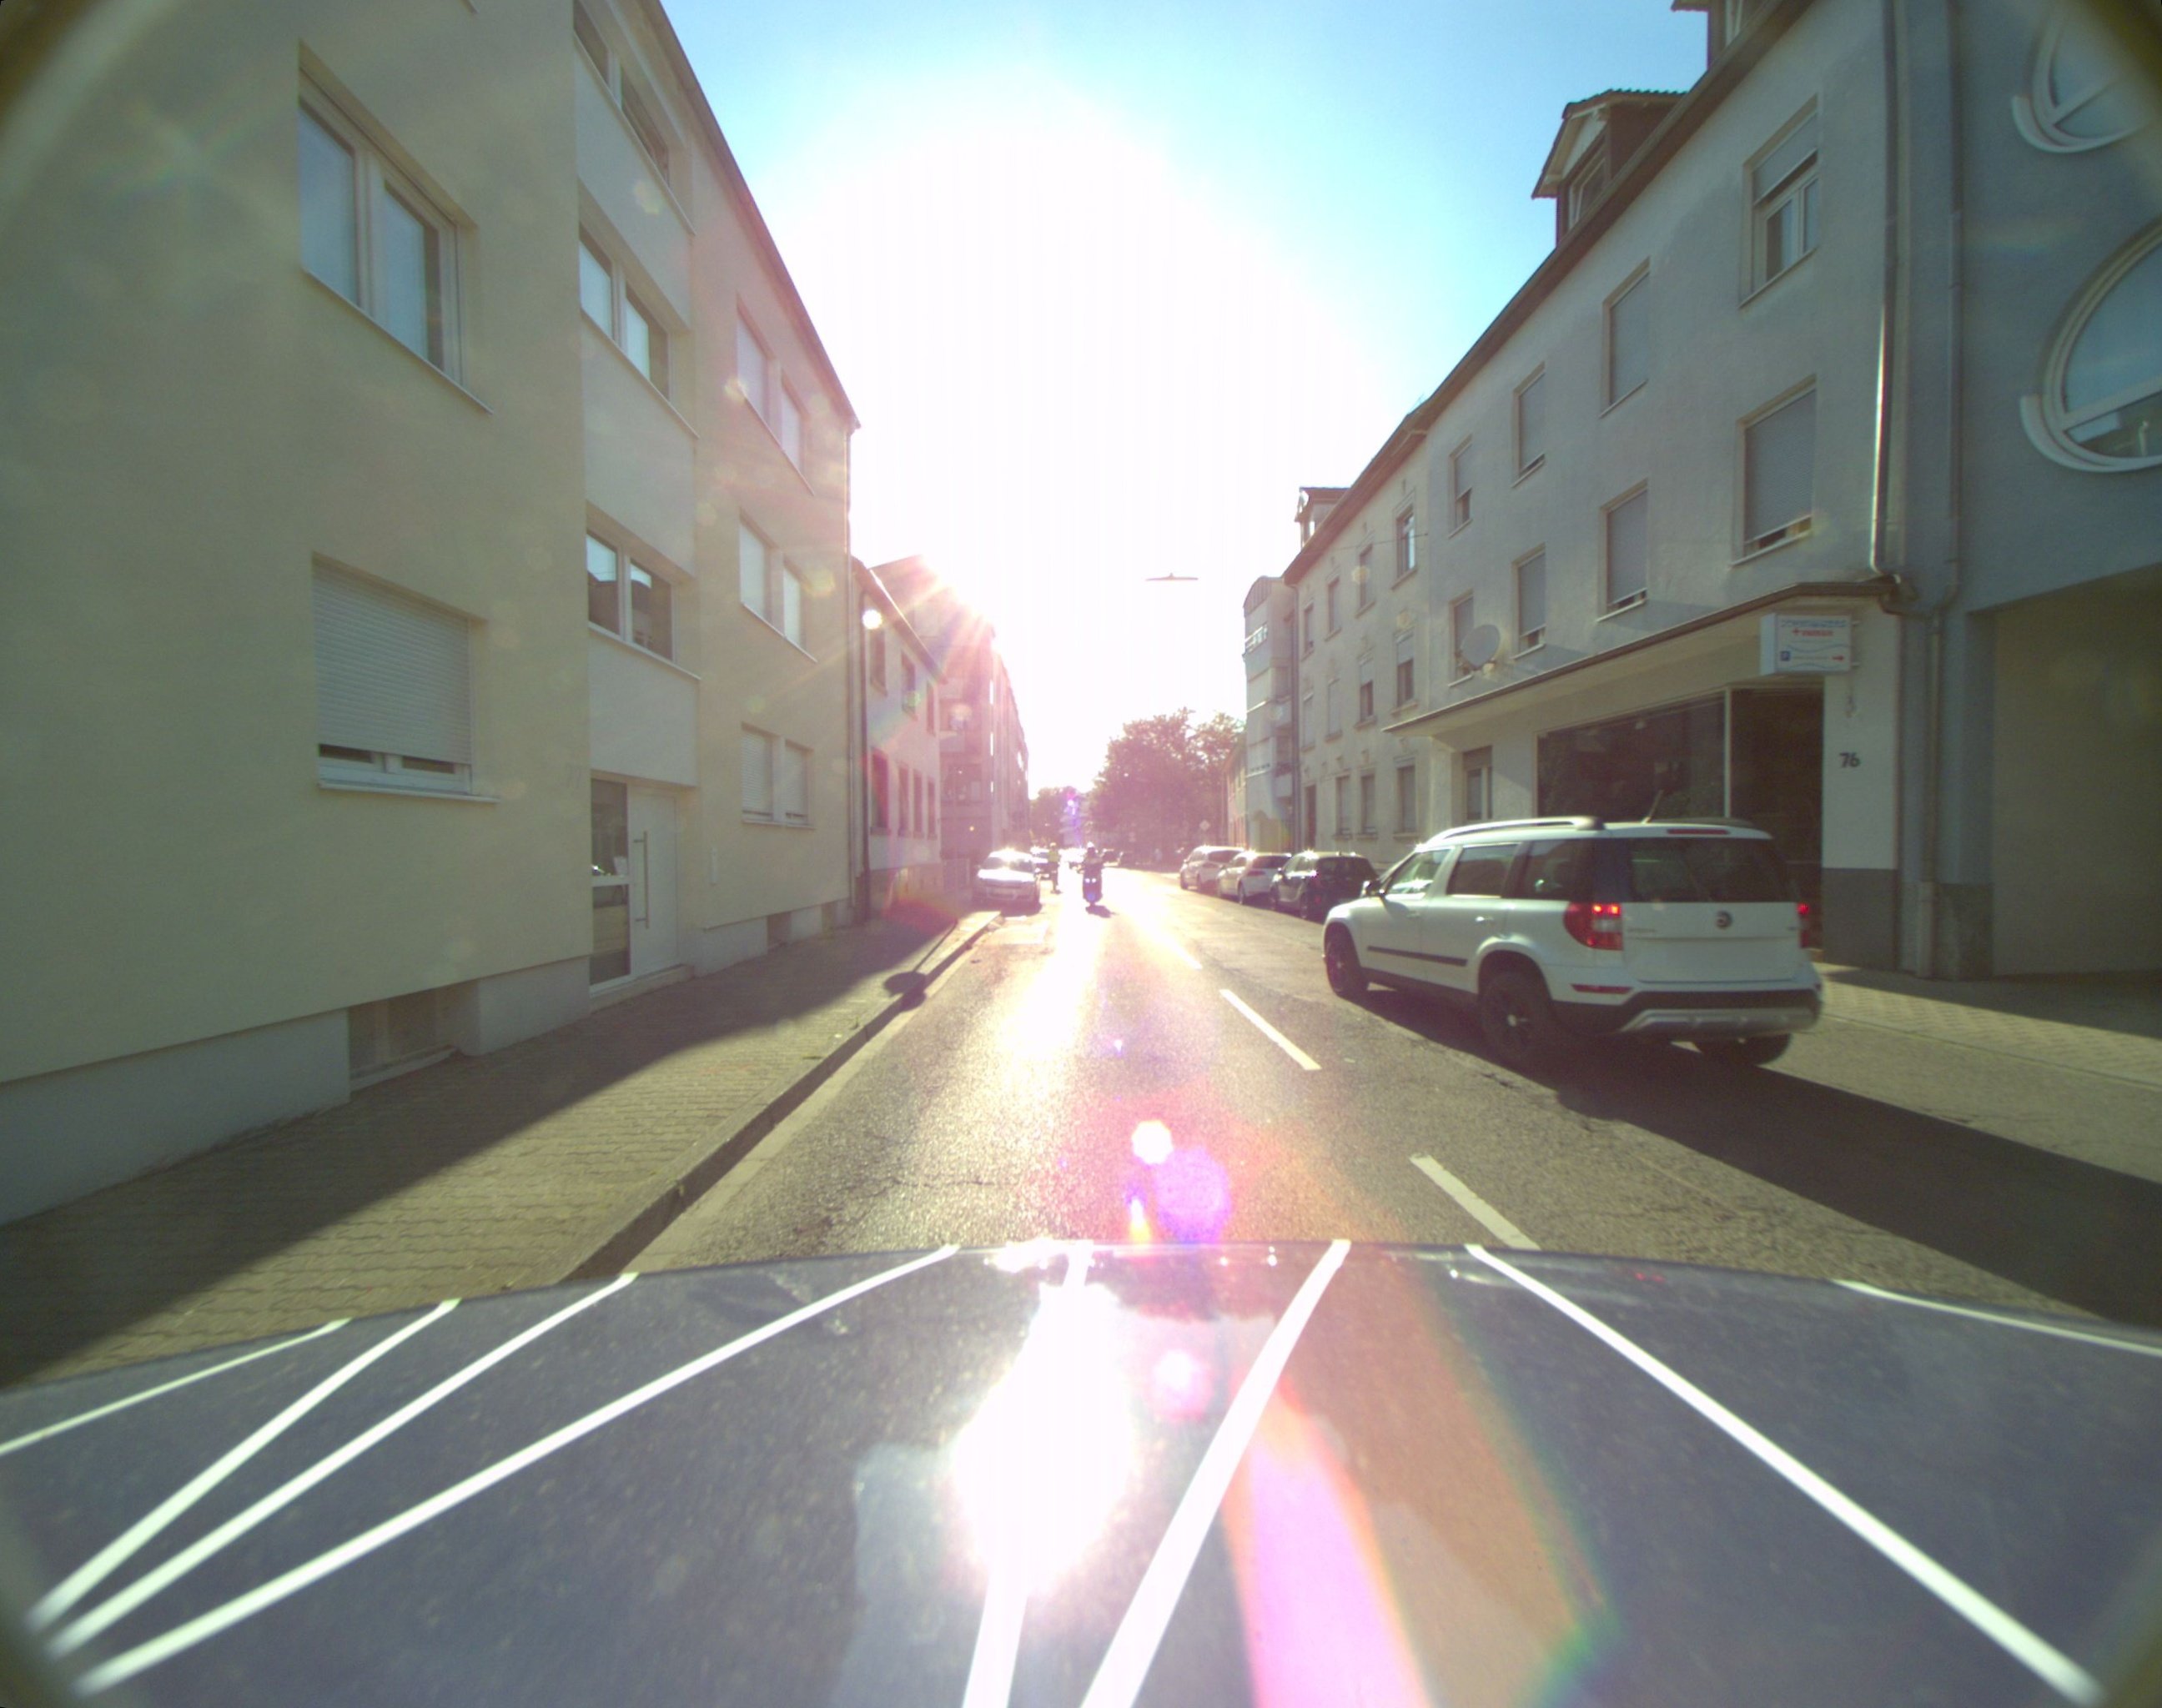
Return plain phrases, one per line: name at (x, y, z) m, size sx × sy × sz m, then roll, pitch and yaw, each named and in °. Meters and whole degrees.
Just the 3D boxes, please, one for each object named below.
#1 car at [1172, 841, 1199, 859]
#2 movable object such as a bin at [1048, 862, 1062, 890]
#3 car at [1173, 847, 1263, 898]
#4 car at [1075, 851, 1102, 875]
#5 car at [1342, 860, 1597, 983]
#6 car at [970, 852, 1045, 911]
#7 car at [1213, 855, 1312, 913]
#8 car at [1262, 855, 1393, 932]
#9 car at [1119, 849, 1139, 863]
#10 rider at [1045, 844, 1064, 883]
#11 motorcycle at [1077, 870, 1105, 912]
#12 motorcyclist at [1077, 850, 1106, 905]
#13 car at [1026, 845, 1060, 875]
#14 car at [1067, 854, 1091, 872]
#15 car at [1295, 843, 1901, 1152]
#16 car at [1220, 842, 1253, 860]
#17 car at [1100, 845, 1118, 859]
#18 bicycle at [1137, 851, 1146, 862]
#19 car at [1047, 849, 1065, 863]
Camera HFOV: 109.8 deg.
car at (11.734, -0.470, 85.825) m, size 1.849 × 1.884 × 4.903 m, roll -1°, pitch 0°, yaw -6°
movable object such as a bin at (-1.080, 0.903, 31.480) m, size 0.456 × 1.027 × 1.839 m, roll -4°, pitch 2°, yaw -4°
car at (4.932, 0.604, 28.193) m, size 1.999 × 1.638 × 5.219 m, roll -1°, pitch 1°, yaw -4°
car at (0.506, 0.639, 55.361) m, size 1.708 × 1.570 × 3.914 m, roll -2°, pitch 1°, yaw -2°
car at (5.605, 0.864, 11.595) m, size 1.735 × 1.490 × 3.957 m, roll 0°, pitch 1°, yaw -2°
car at (-2.005, 0.704, 21.886) m, size 1.746 × 1.483 × 4.438 m, roll 1°, pitch 1°, yaw -1°
car at (5.258, 0.807, 22.550) m, size 1.769 × 1.487 × 4.125 m, roll 1°, pitch 0°, yaw -3°
car at (5.565, 0.825, 17.640) m, size 1.665 × 1.517 × 3.808 m, roll 2°, pitch 0°, yaw -2°
car at (5.243, 0.165, 83.747) m, size 1.701 × 1.483 × 3.998 m, roll -1°, pitch 1°, yaw -4°
rider at (-1.089, 0.377, 31.295) m, size 0.655 × 1.553 × 1.082 m, roll -4°, pitch 3°, yaw -4°
motorcycle at (0.262, 0.977, 20.337) m, size 0.599 × 1.004 × 1.820 m, roll -1°, pitch 1°, yaw -4°
motorcyclist at (0.271, 0.612, 20.367) m, size 0.717 × 1.424 × 0.746 m, roll -1°, pitch 1°, yaw -4°
car at (-2.214, 0.333, 45.270) m, size 1.859 × 1.627 × 4.622 m, roll 2°, pitch 0°, yaw -1°
car at (-0.240, 0.739, 66.578) m, size 1.821 × 1.458 × 4.267 m, roll -1°, pitch 1°, yaw -4°
car at (3.538, 0.785, 6.348) m, size 1.813 × 1.692 × 4.188 m, roll 1°, pitch 0°, yaw -8°
car at (17.686, -0.371, 86.591) m, size 2.025 × 1.937 × 4.318 m, roll -1°, pitch 1°, yaw -14°
car at (3.748, -0.313, 102.489) m, size 1.937 × 1.695 × 5.098 m, roll -3°, pitch 1°, yaw -4°
bicycle at (5.516, 0.218, 69.391) m, size 0.705 × 0.997 × 1.941 m, roll -2°, pitch 1°, yaw 1°
car at (-2.797, 0.184, 84.524) m, size 1.821 × 1.458 × 4.267 m, roll -1°, pitch 1°, yaw -4°
